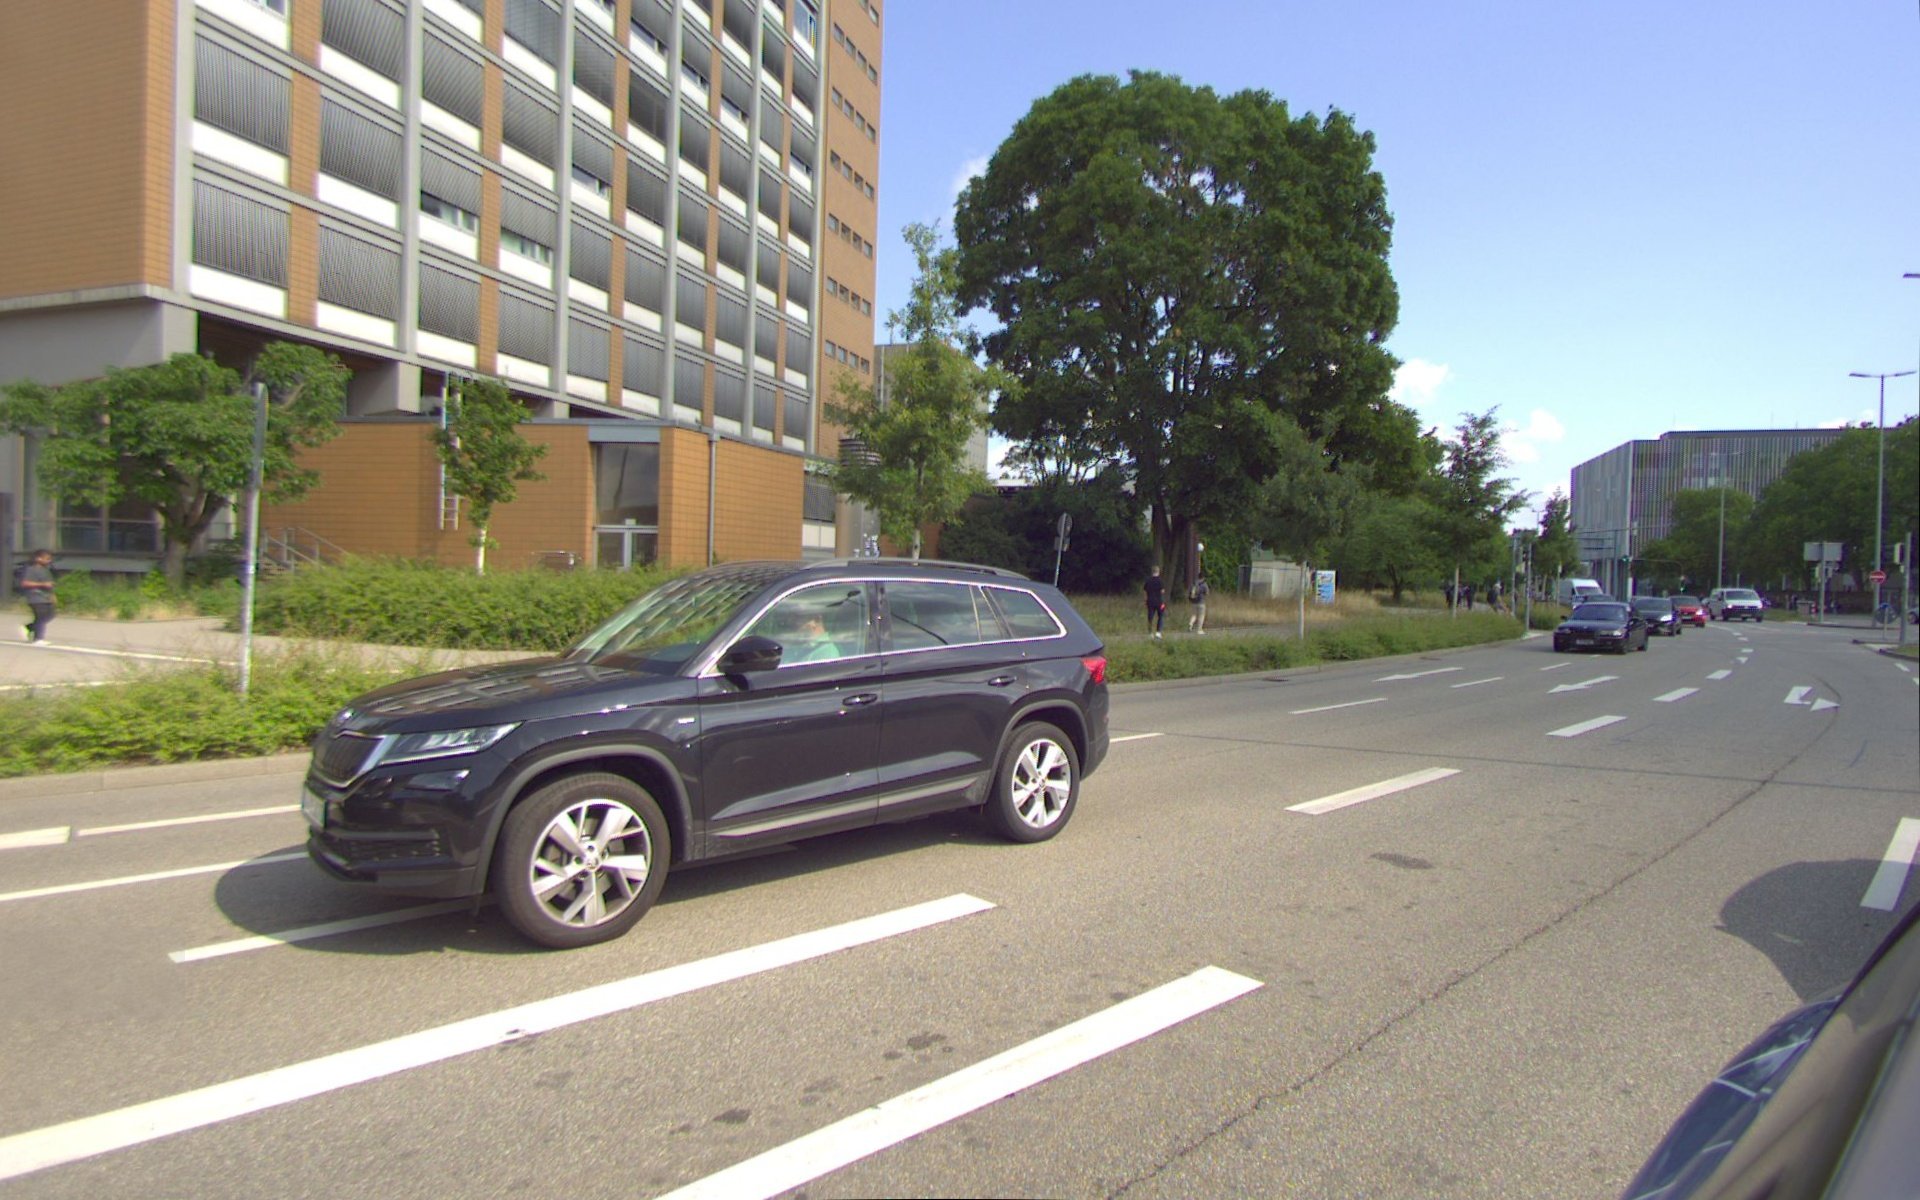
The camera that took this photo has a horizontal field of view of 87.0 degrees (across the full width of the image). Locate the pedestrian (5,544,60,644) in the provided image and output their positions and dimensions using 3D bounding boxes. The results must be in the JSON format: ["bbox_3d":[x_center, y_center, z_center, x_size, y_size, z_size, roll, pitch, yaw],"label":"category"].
[{"bbox_3d":[-14.603,-0.107,15.940,0.570,1.539,0.480,0,3,-36],"label":"pedestrian"}]

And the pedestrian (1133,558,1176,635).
[{"bbox_3d":[4.945,-0.096,25.704,0.634,1.893,0.760,0,4,-40],"label":"pedestrian"}]

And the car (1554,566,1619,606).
[{"bbox_3d":[48.924,-1.118,79.200,2.450,2.915,6.122,2,1,14],"label":"car"}]

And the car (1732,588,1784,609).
[{"bbox_3d":[63.369,-0.142,80.438,1.975,1.616,3.975,2,1,19],"label":"car"}]

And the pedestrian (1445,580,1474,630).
[{"bbox_3d":[20.815,0.198,42.183,0.980,2.039,1.117,0,0,33],"label":"pedestrian"}]

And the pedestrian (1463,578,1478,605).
[{"bbox_3d":[39.166,-0.675,77.647,0.980,2.039,1.117,0,0,33],"label":"pedestrian"}]

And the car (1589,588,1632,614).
[{"bbox_3d":[39.610,0.031,61.712,1.984,1.504,3.957,2,2,30],"label":"car"}]

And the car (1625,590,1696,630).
[{"bbox_3d":[27.842,0.366,40.175,1.709,1.472,3.937,2,2,44],"label":"car"}]

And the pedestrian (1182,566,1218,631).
[{"bbox_3d":[6.739,-0.052,28.421,0.634,1.766,0.672,0,5,-41],"label":"pedestrian"}]

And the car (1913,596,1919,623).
[{"bbox_3d":[55.166,0.617,55.147,1.925,1.507,5.092,1,1,6],"label":"car"}]

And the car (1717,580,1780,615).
[{"bbox_3d":[47.343,-0.155,60.904,1.980,2.039,5.028,0,0,26],"label":"car"}]

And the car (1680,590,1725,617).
[{"bbox_3d":[36.980,0.143,50.358,1.603,1.229,2.967,2,3,40],"label":"car"}]

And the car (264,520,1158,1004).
[{"bbox_3d":[-1.087,0.509,5.809,4.603,1.689,1.997,-1,2,-42],"label":"car"}]

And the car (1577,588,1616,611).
[{"bbox_3d":[43.315,-0.056,68.927,1.983,1.504,3.959,2,2,29],"label":"car"}]

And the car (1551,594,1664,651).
[{"bbox_3d":[18.327,0.572,28.572,1.992,1.415,4.440,1,1,42],"label":"car"}]

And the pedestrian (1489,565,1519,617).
[{"bbox_3d":[21.937,-0.367,40.821,0.980,2.039,1.117,0,0,33],"label":"pedestrian"}]

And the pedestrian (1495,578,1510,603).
[{"bbox_3d":[45.174,-0.806,84.196,0.980,2.039,1.117,2,1,33],"label":"pedestrian"}]
